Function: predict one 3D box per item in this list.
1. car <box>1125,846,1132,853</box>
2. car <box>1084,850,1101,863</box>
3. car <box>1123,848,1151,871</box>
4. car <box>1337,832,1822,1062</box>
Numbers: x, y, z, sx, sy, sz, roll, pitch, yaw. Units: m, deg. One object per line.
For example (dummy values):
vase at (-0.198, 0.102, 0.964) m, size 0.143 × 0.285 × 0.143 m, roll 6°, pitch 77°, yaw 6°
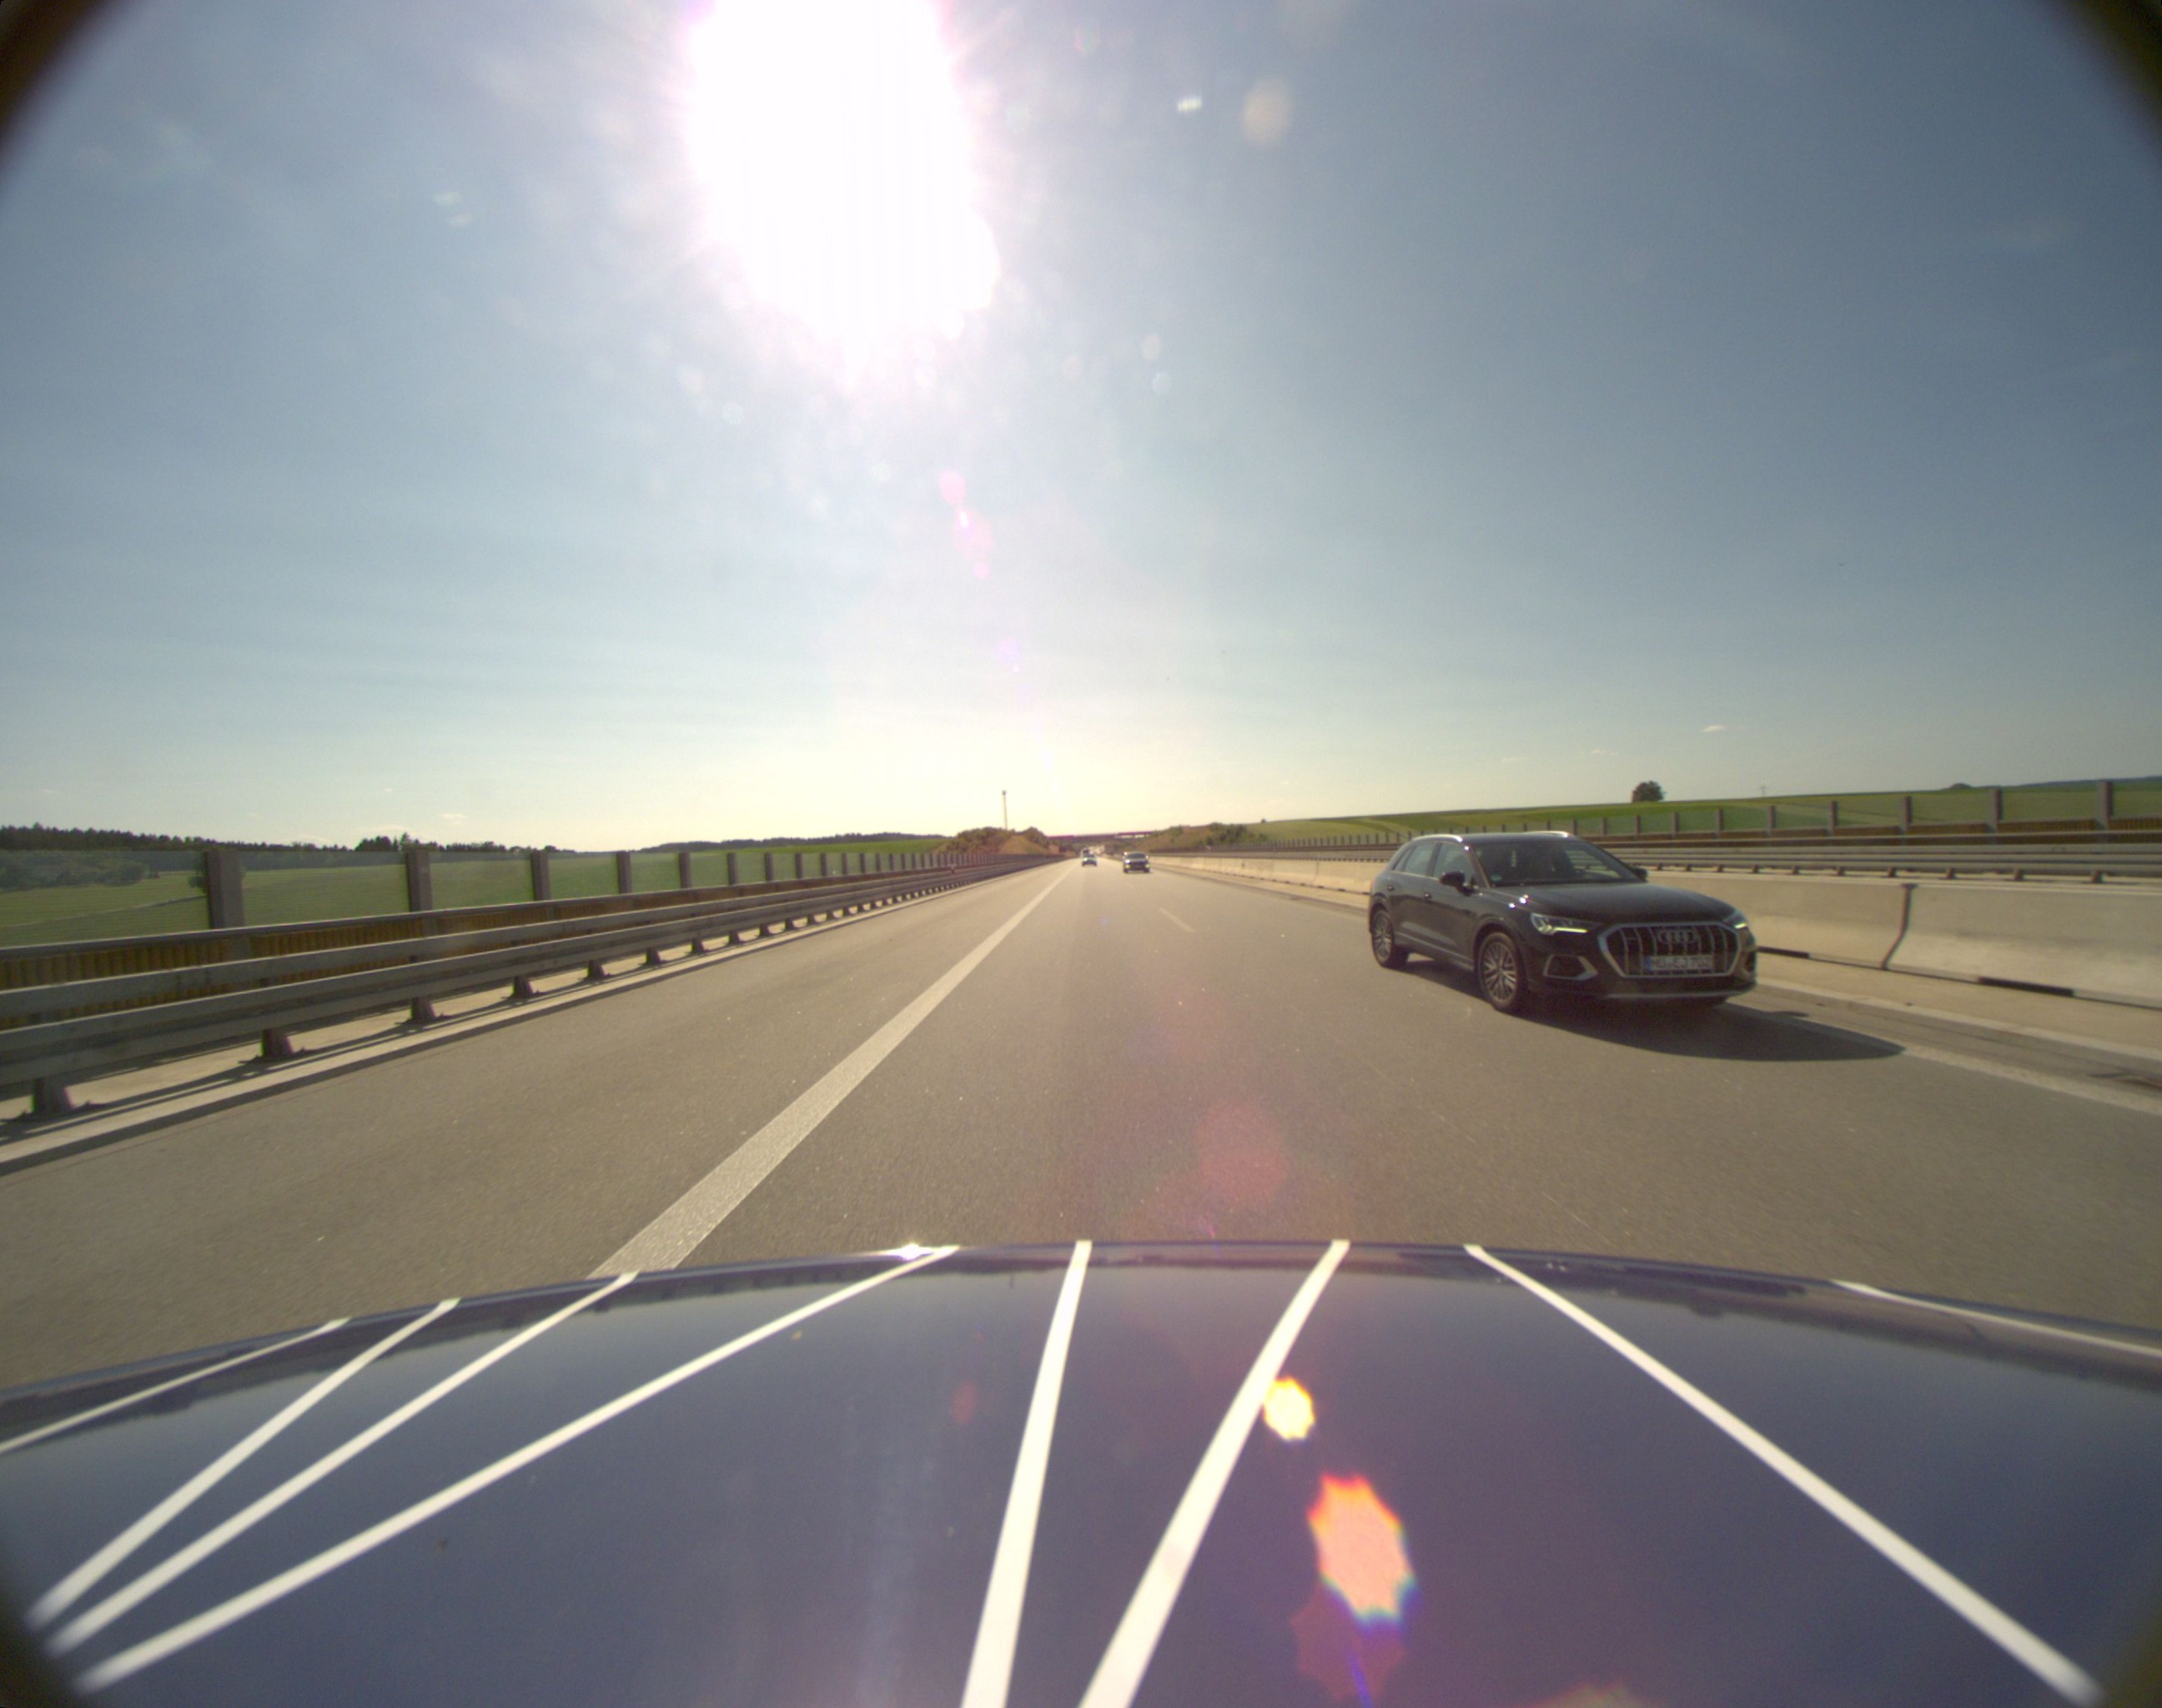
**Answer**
car at (13.977, -1.432, 224.736) m, size 1.998 × 2.002 × 4.761 m, roll -2°, pitch 1°, yaw 2°
car at (1.430, 0.273, 90.423) m, size 1.909 × 1.449 × 4.375 m, roll -2°, pitch 1°, yaw 2°
car at (4.181, 0.365, 57.258) m, size 1.776 × 1.560 × 4.988 m, roll -2°, pitch 1°, yaw 1°
car at (4.421, 0.637, 8.007) m, size 1.726 × 1.578 × 5.221 m, roll -2°, pitch 1°, yaw 1°
